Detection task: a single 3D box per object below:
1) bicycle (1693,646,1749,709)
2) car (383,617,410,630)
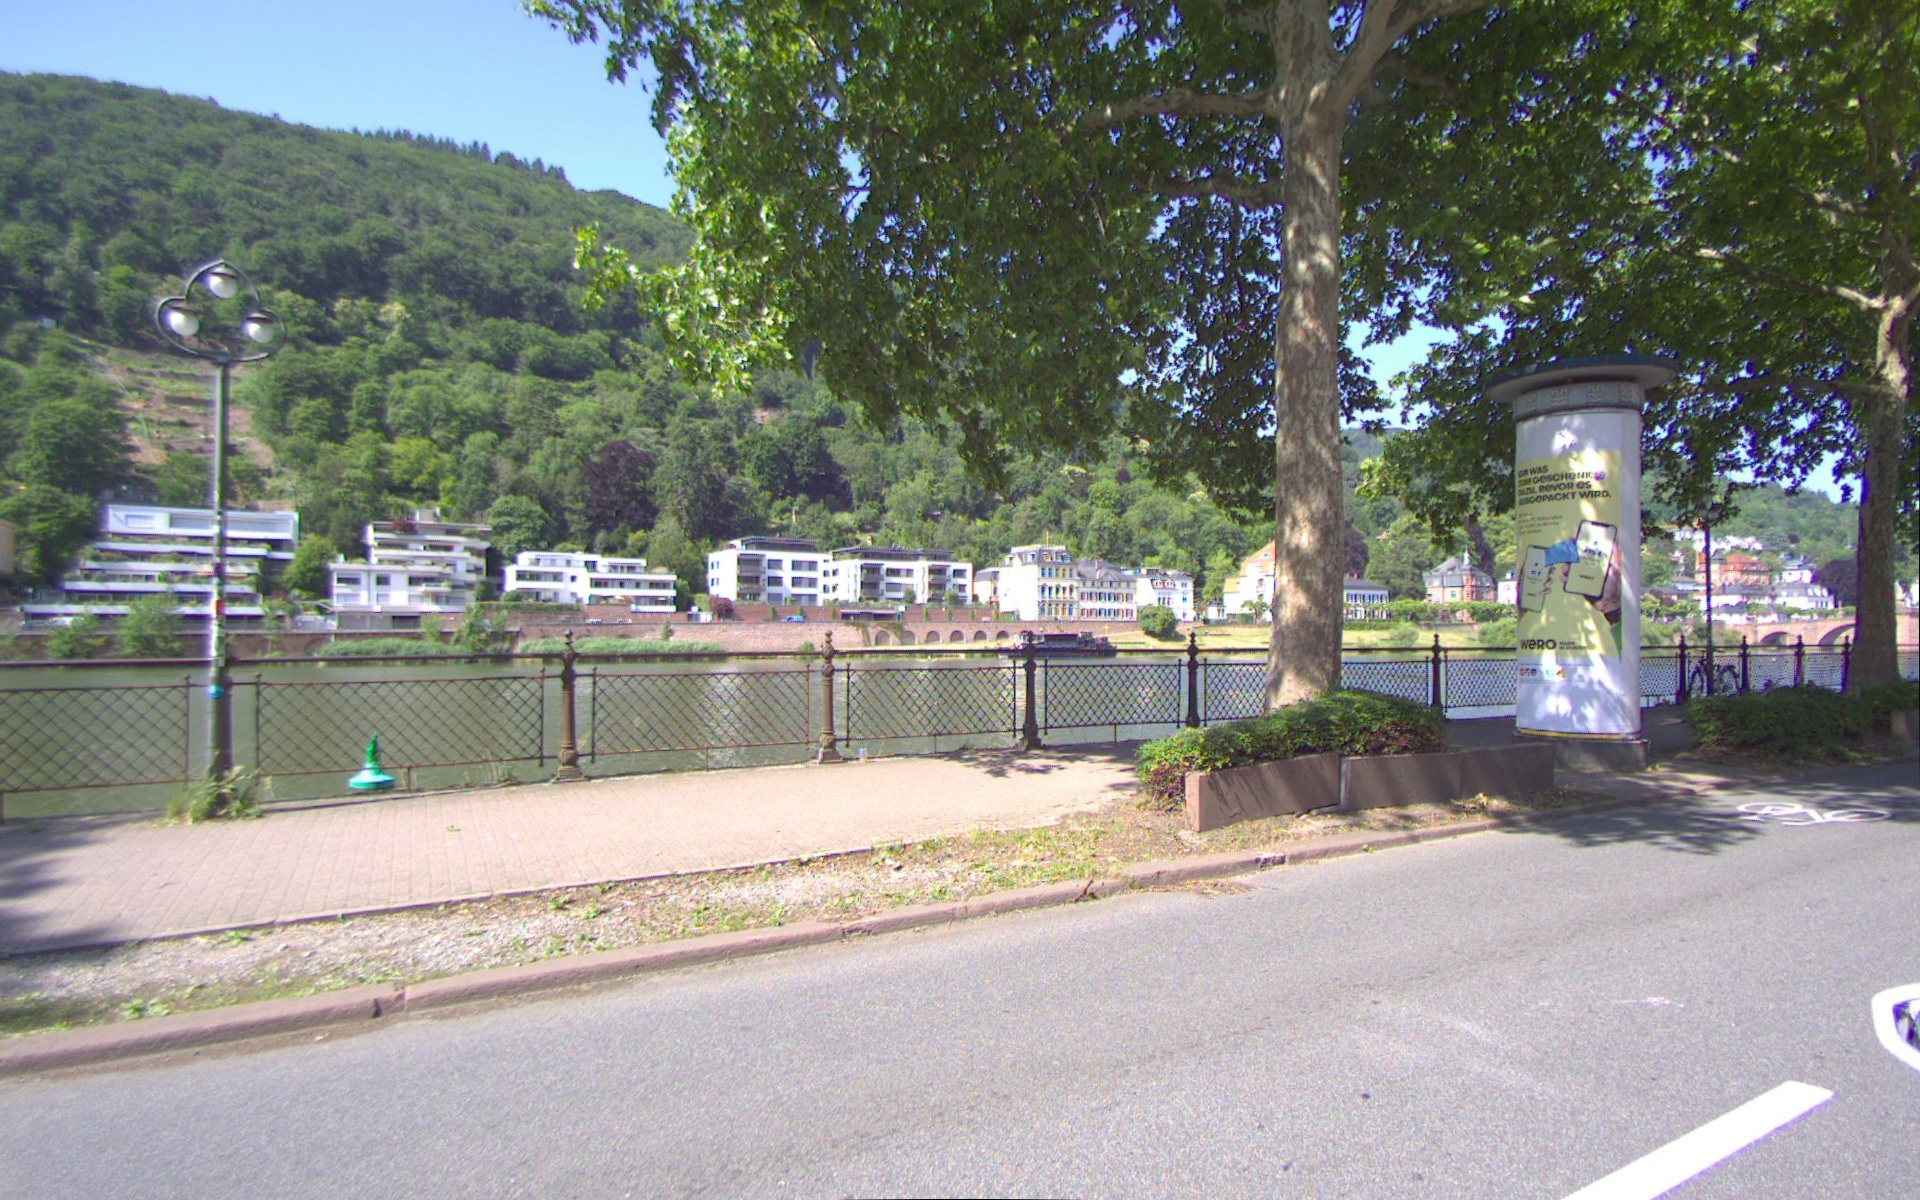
[{"bbox_3d":[14.367,1.449,18.962,1.281,1.106,0.357,1,2,-31],"label":"bicycle"},{"bbox_3d":[-95.441,3.994,170.079,3.953,2.040,1.984,1,0,-30],"label":"car"}]
